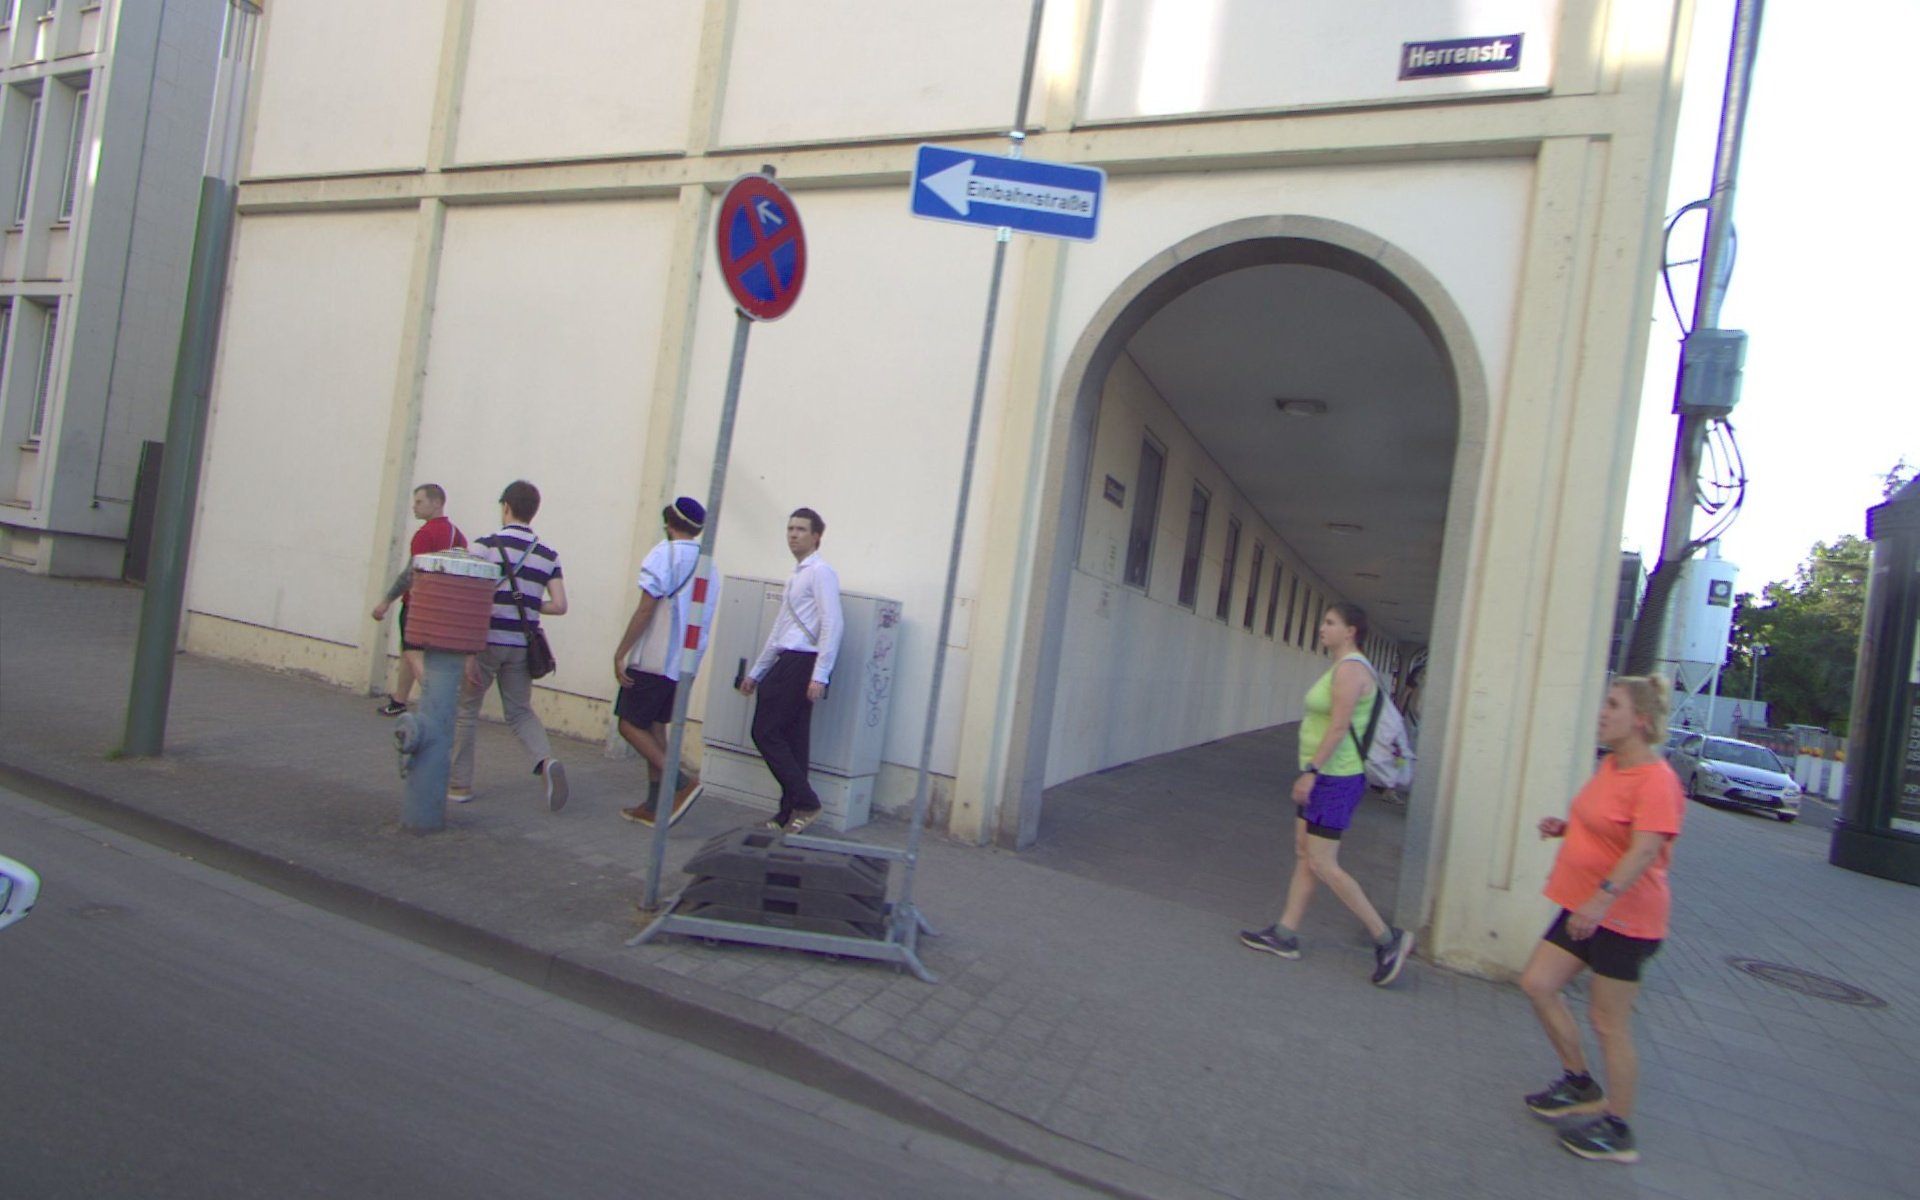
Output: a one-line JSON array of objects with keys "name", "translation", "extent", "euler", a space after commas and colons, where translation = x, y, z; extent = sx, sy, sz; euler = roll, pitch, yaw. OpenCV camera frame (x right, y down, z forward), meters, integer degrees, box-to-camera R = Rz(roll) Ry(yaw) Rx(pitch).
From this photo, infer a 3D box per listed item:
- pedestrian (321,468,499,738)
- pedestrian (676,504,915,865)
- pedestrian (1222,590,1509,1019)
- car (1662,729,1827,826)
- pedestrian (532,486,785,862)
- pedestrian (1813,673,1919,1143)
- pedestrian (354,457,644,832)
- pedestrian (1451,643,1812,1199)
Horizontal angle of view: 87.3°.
[{"name": "pedestrian", "translation": [-4.048, 0.013, 7.424], "extent": [0.761, 1.826, 0.710], "euler": [8, 3, 24]}, {"name": "pedestrian", "translation": [-0.917, 0.432, 5.680], "extent": [0.924, 1.801, 0.710], "euler": [8, 3, 24]}, {"name": "pedestrian", "translation": [1.897, 0.882, 4.770], "extent": [0.950, 1.733, 0.674], "euler": [9, 4, 24]}, {"name": "car", "translation": [16.776, 3.719, 21.739], "extent": [1.897, 1.482, 4.000], "euler": [10, -2, 27]}, {"name": "pedestrian", "translation": [-1.626, 0.359, 5.467], "extent": [0.924, 1.801, 0.710], "euler": [8, 3, 24]}, {"name": "pedestrian", "translation": [4.198, 1.224, 3.920], "extent": [0.960, 1.749, 0.798], "euler": [8, 0, 24]}, {"name": "pedestrian", "translation": [-2.582, 0.206, 5.642], "extent": [1.224, 1.826, 0.715], "euler": [8, 3, 24]}, {"name": "pedestrian", "translation": [2.226, 1.022, 3.463], "extent": [0.714, 1.646, 0.619], "euler": [9, 4, 23]}]
